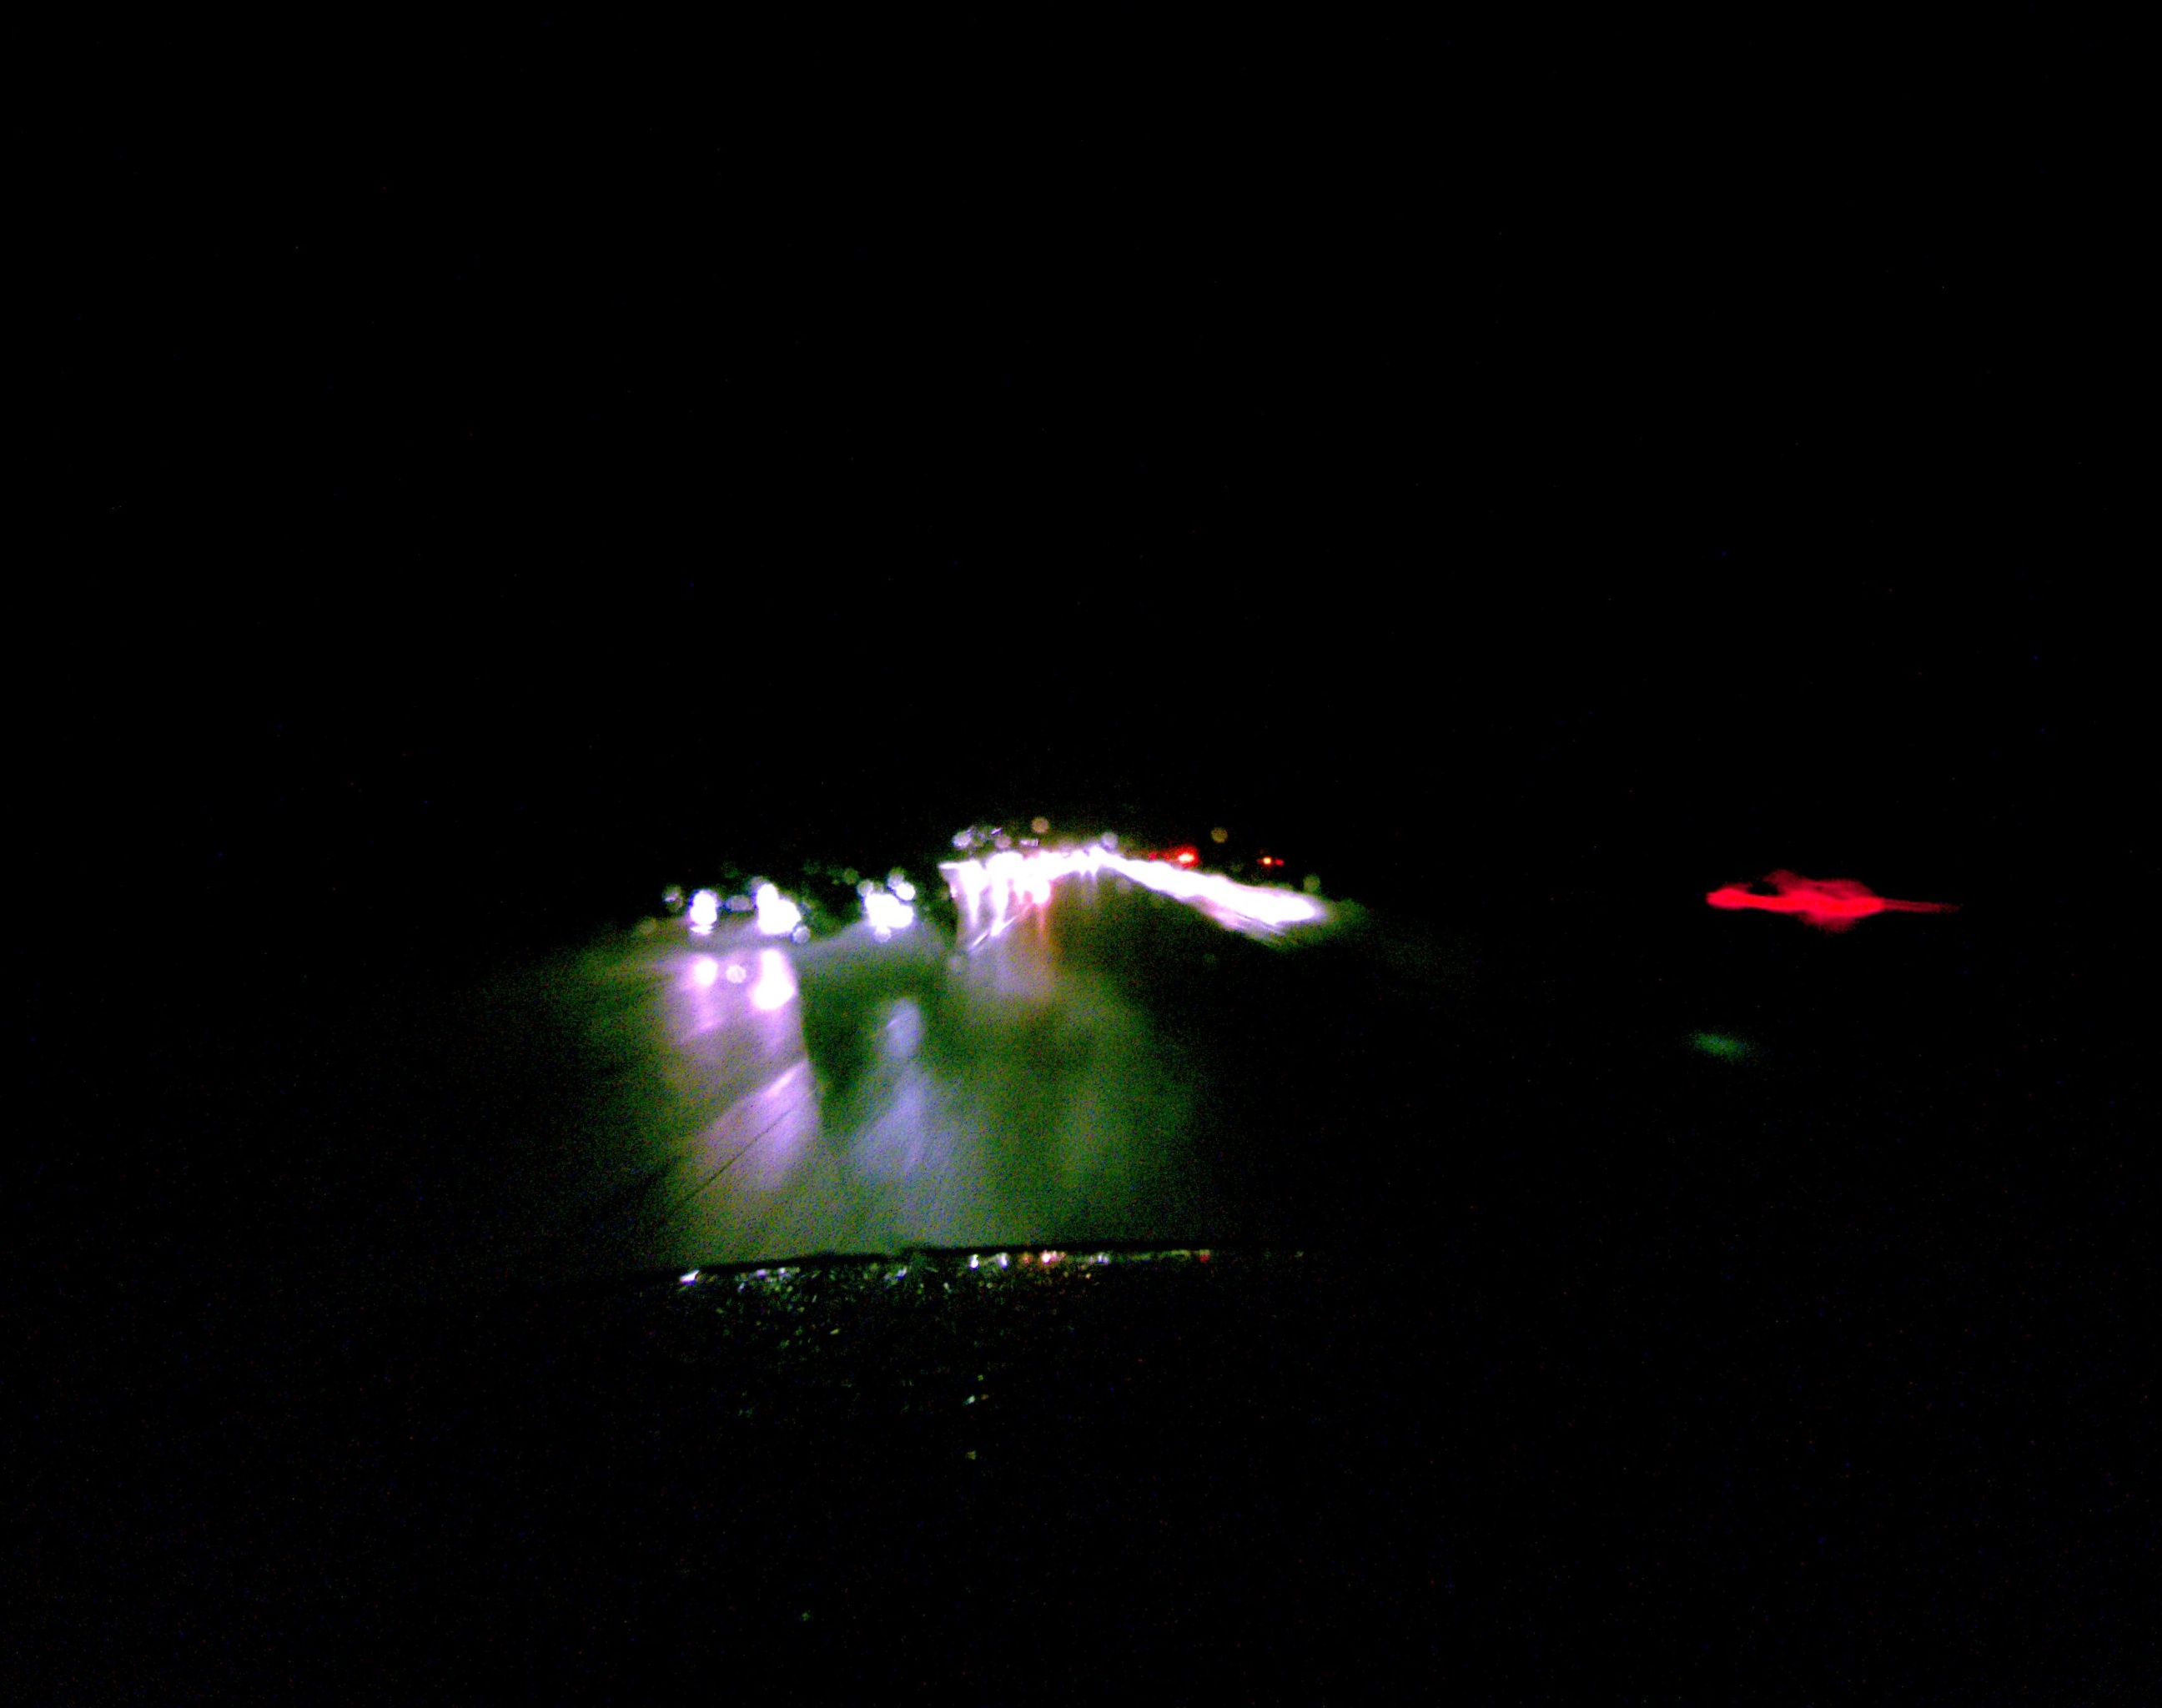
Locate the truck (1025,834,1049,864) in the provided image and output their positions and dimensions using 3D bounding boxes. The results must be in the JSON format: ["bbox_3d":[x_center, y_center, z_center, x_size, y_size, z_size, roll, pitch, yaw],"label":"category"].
[{"bbox_3d":[-6.328,-0.738,109.726,2.777,4.169,6.016,-2,1,2],"label":"truck"}]

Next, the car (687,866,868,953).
[{"bbox_3d":[-6.446,1.085,16.931,1.747,1.470,5.366,-2,0,1],"label":"car"}]

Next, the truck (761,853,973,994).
[{"bbox_3d":[-3.066,0.881,12.099,1.848,1.686,4.854,-2,1,1],"label":"truck"}]

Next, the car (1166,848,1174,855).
[{"bbox_3d":[23.988,-0.696,204.702,1.897,1.574,5.371,-2,1,2],"label":"car"}]

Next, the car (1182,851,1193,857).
[{"bbox_3d":[22.644,-0.031,161.703,1.642,1.096,4.045,-2,1,0],"label":"car"}]

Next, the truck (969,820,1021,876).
[{"bbox_3d":[-6.717,-0.456,60.303,2.866,4.079,7.014,-2,1,2],"label":"truck"}]

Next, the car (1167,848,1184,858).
[{"bbox_3d":[14.561,-0.157,117.479,1.998,1.407,4.589,0,0,1],"label":"car"}]

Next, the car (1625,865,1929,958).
[{"bbox_3d":[12.534,0.942,14.118,1.998,1.412,4.000,0,0,1],"label":"car"}]

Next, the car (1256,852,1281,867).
[{"bbox_3d":[24.702,0.708,100.225,1.998,1.936,5.386,0,0,1],"label":"car"}]

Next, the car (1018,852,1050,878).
[{"bbox_3d":[-2.963,0.700,48.539,1.619,1.494,3.767,-2,1,2],"label":"car"}]

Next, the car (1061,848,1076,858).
[{"bbox_3d":[-1.888,-0.164,115.865,1.944,1.521,4.000,-2,1,2],"label":"car"}]

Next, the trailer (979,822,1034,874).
[{"bbox_3d":[-6.408,-0.543,68.014,2.871,4.074,13.641,-2,1,2],"label":"trailer"}]

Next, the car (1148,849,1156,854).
[{"bbox_3d":[20.396,-0.852,218.263,1.787,1.414,4.352,1,1,-1],"label":"car"}]

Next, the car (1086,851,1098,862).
[{"bbox_3d":[1.551,0.363,105.822,1.619,1.452,3.767,-2,1,2],"label":"car"}]
